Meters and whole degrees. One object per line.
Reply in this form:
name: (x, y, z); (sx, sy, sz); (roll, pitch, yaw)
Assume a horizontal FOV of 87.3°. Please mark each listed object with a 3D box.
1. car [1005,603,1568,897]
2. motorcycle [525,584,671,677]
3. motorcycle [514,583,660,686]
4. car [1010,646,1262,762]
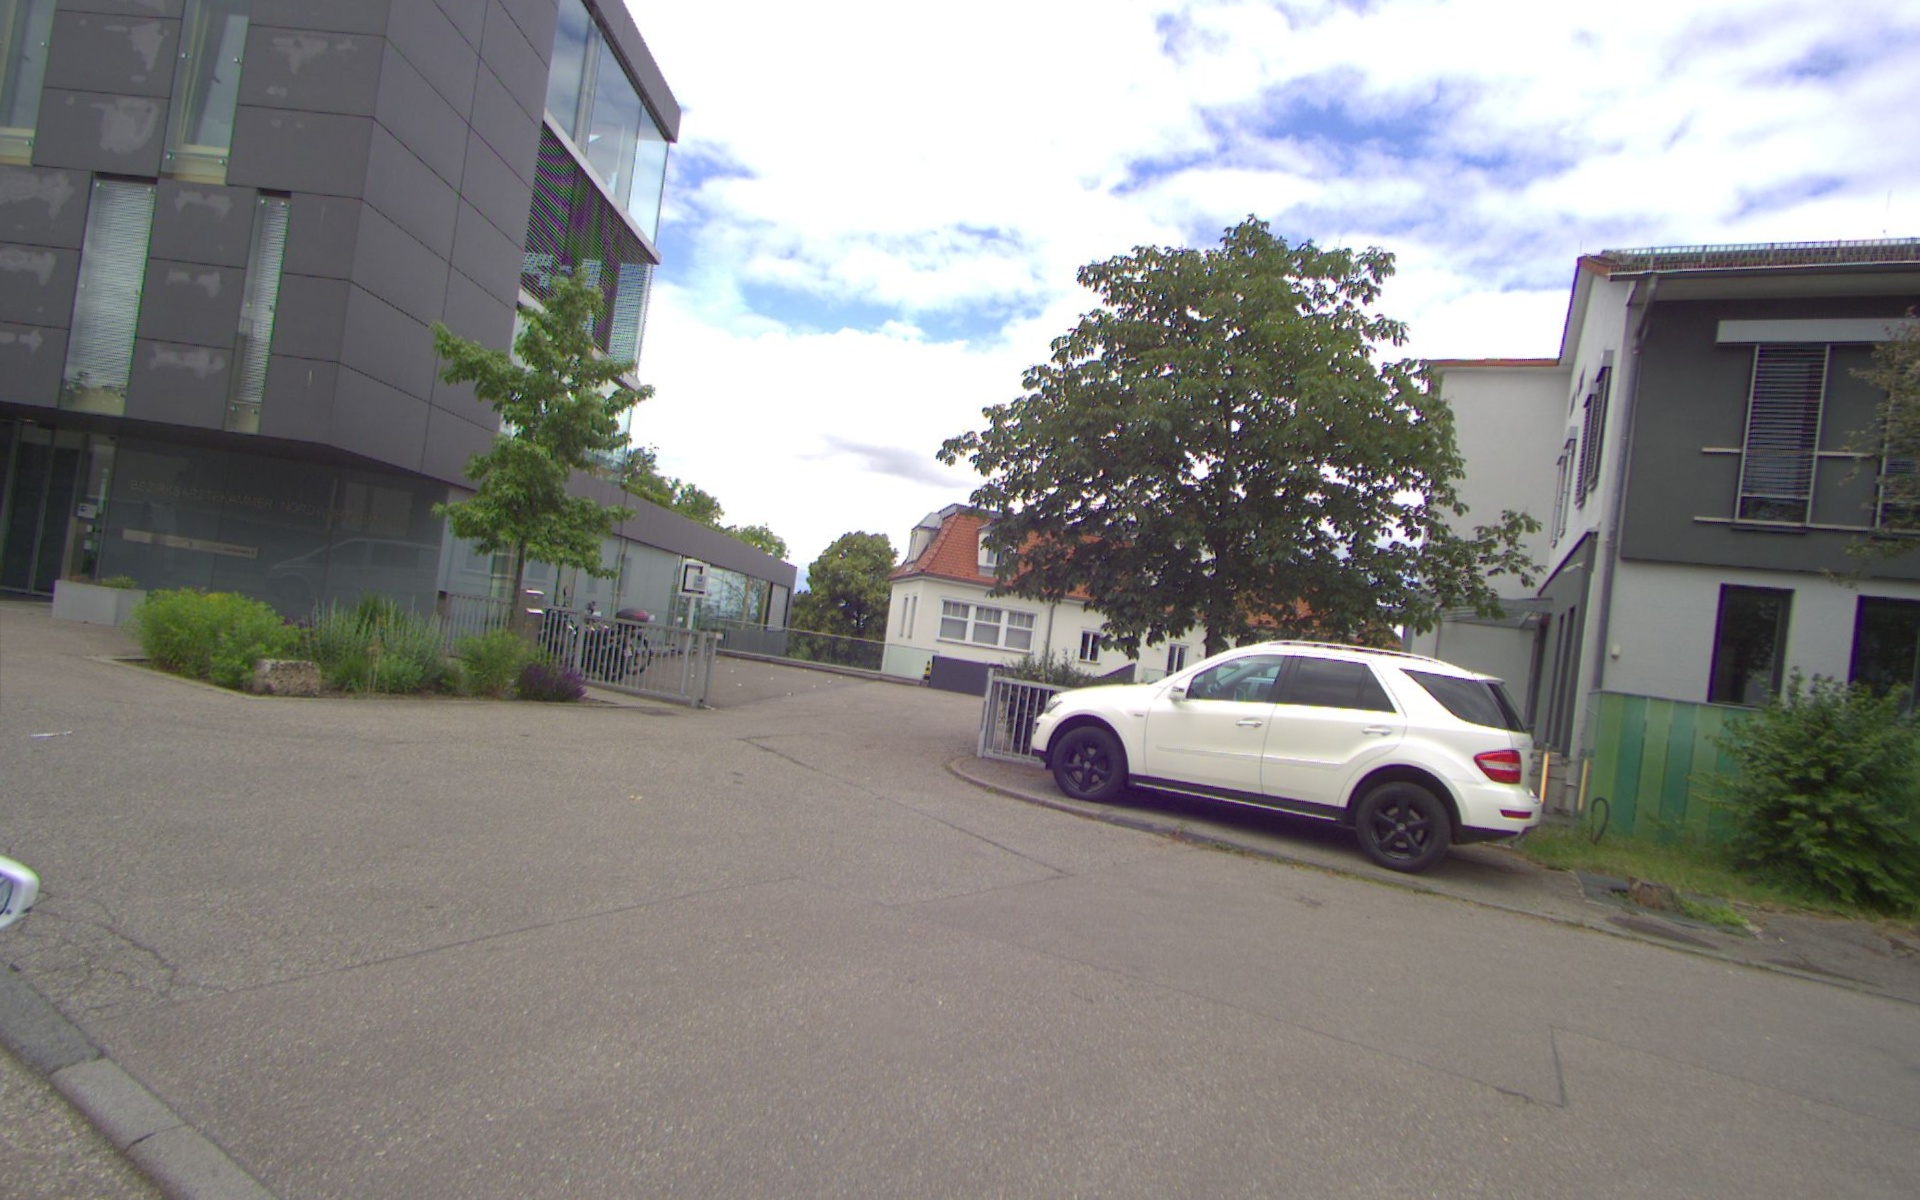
car: (2.989, 1.229, 9.620); (4.643, 1.778, 1.856); (7, -2, 31)
motorcycle: (-6.736, 0.567, 18.740); (2.416, 1.409, 0.671); (7, -1, 13)
motorcycle: (-6.200, 0.570, 16.738); (2.084, 1.409, 0.671); (7, -1, 13)
car: (3.190, 1.848, 18.352); (4.142, 1.501, 1.621); (5, -2, 25)
